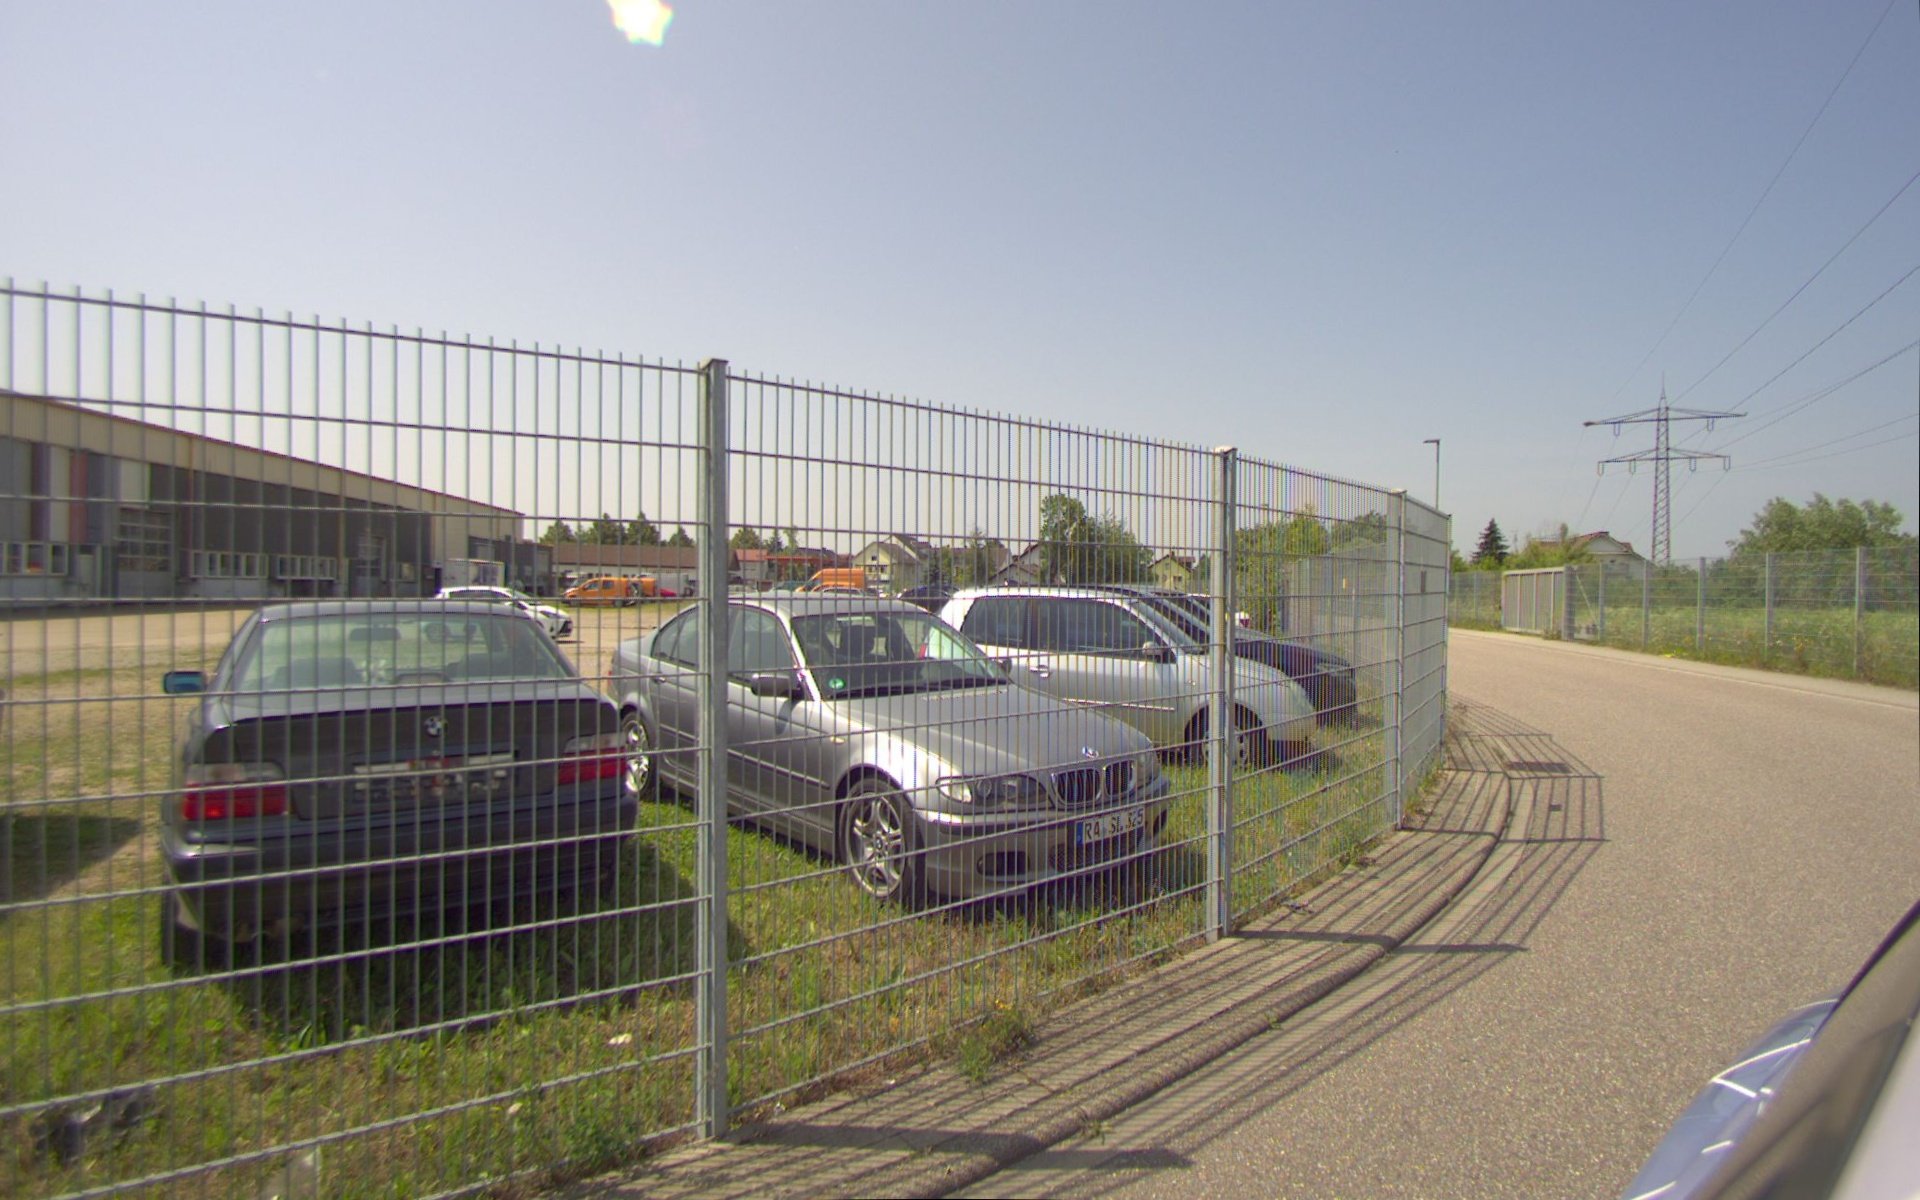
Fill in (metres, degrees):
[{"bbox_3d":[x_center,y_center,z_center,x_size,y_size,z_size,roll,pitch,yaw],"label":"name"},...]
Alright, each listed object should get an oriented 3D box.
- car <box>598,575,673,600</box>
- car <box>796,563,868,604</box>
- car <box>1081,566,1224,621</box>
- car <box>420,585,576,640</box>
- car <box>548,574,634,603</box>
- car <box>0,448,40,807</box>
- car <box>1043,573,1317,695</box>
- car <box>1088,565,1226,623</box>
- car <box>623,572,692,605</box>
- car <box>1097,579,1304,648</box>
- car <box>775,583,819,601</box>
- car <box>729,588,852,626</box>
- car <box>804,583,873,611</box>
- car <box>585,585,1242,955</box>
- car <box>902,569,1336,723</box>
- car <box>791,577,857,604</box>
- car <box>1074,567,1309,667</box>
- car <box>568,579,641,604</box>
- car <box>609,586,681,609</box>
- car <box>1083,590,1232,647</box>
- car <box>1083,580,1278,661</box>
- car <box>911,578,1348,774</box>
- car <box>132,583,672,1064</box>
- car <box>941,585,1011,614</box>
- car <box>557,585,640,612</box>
[{"bbox_3d":[-21.132,-0.804,66.022,4.302,1.504,1.976,2,0,-5],"label":"car"},{"bbox_3d":[-8.610,-1.087,68.611,4.653,2.617,1.981,1,0,-3],"label":"car"},{"bbox_3d":[5.089,-0.192,26.930,3.617,1.371,1.734,1,1,12],"label":"car"},{"bbox_3d":[-12.645,0.326,27.840,3.593,1.454,1.538,1,1,-5],"label":"car"},{"bbox_3d":[-21.020,-0.628,57.752,4.302,1.504,1.755,2,0,-5],"label":"car"},{"bbox_3d":[-5.713,0.206,3.917,1.868,2.176,5.351,0,1,-28],"label":"car"},{"bbox_3d":[2.980,0.415,14.102,3.494,1.521,1.706,1,1,11],"label":"car"},{"bbox_3d":[4.792,-0.165,24.874,3.224,1.371,1.524,0,1,9],"label":"car"},{"bbox_3d":[-21.416,-0.829,71.756,4.302,2.199,1.976,2,0,-5],"label":"car"},{"bbox_3d":[5.053,0.261,21.649,4.130,1.371,1.718,1,1,11],"label":"car"},{"bbox_3d":[-14.886,-0.750,92.473,3.888,1.504,1.755,2,0,-5],"label":"car"},{"bbox_3d":[-6.357,0.247,38.313,4.436,1.368,1.627,1,1,-1],"label":"car"},{"bbox_3d":[-6.833,-0.179,57.367,3.754,1.480,1.590,2,0,-3],"label":"car"},{"bbox_3d":[-0.634,0.639,6.126,1.589,1.412,4.350,0,1,-42],"label":"car"},{"bbox_3d":[1.753,0.424,11.451,4.485,1.493,1.817,1,1,15],"label":"car"},{"bbox_3d":[-8.042,-0.531,60.095,3.754,1.480,1.590,2,0,-3],"label":"car"},{"bbox_3d":[3.777,0.227,16.910,3.602,1.495,1.747,1,3,11],"label":"car"},{"bbox_3d":[-22.068,-0.554,62.909,3.921,1.482,2.002,1,0,-4],"label":"car"},{"bbox_3d":[-21.374,-0.155,68.712,4.304,1.395,1.843,2,0,-3],"label":"car"},{"bbox_3d":[5.738,0.529,29.702,4.109,1.492,1.634,-2,0,10],"label":"car"},{"bbox_3d":[4.148,0.345,19.344,3.479,1.406,1.631,1,1,11],"label":"car"},{"bbox_3d":[1.443,0.550,8.838,3.424,1.440,1.629,1,1,14],"label":"car"},{"bbox_3d":[-2.934,0.622,5.136,1.585,1.374,4.209,0,1,-34],"label":"car"},{"bbox_3d":[0.858,-0.028,55.996,3.699,1.455,1.612,2,0,-3],"label":"car"},{"bbox_3d":[-21.243,-0.087,59.582,4.302,1.504,1.755,2,0,-5],"label":"car"}]
